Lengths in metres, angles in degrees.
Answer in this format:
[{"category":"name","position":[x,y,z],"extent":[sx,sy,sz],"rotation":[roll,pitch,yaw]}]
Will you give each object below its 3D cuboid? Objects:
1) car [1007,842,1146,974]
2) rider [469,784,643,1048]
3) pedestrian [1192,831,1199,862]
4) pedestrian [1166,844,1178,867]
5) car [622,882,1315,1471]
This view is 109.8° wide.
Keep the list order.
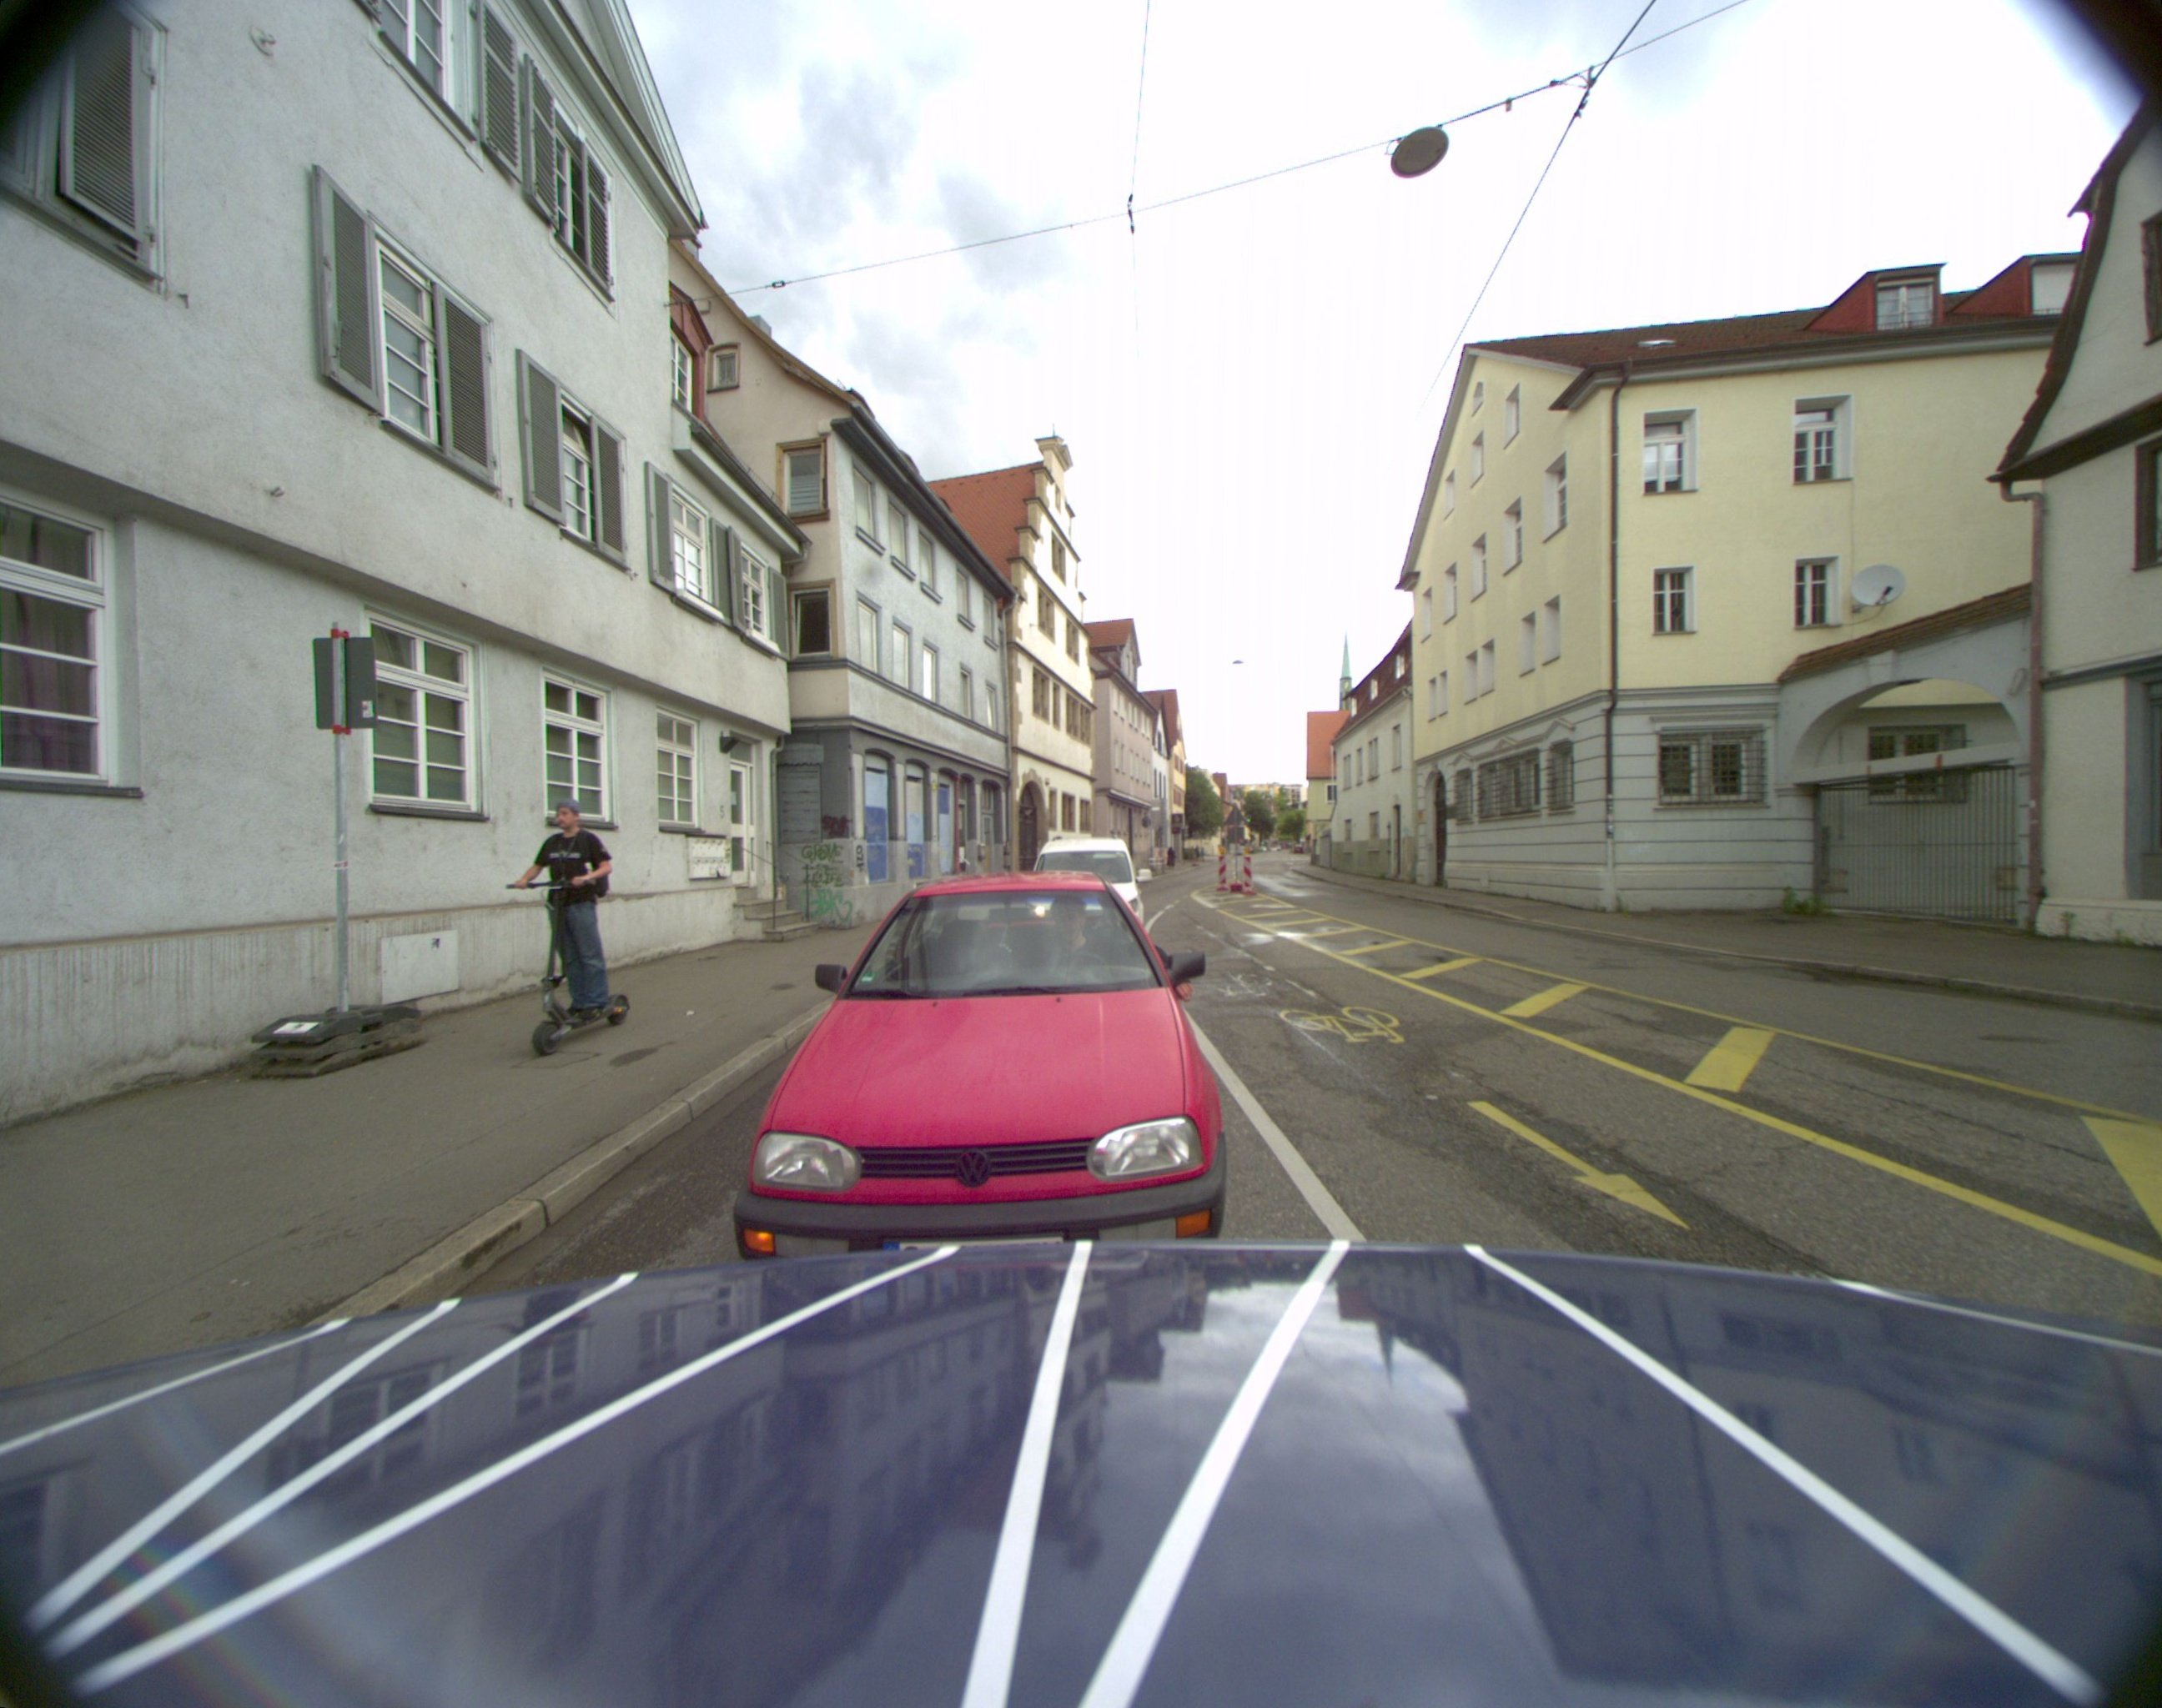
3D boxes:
[{"category":"car","position":[0.023,0.692,12.162],"extent":[1.814,1.695,4.256],"rotation":[-1,1,2]},{"category":"rider","position":[-3.893,0.435,5.703],"extent":[0.719,1.837,0.797],"rotation":[-1,1,1]},{"category":"pedestrian","position":[9.619,-0.626,63.674],"extent":[0.495,2.513,0.746],"rotation":[-1,1,12]},{"category":"pedestrian","position":[6.519,0.086,54.296],"extent":[0.725,1.604,0.649],"rotation":[-1,0,13]},{"category":"car","position":[-0.283,0.926,4.006],"extent":[1.792,1.417,4.000],"rotation":[-2,-1,0]}]
